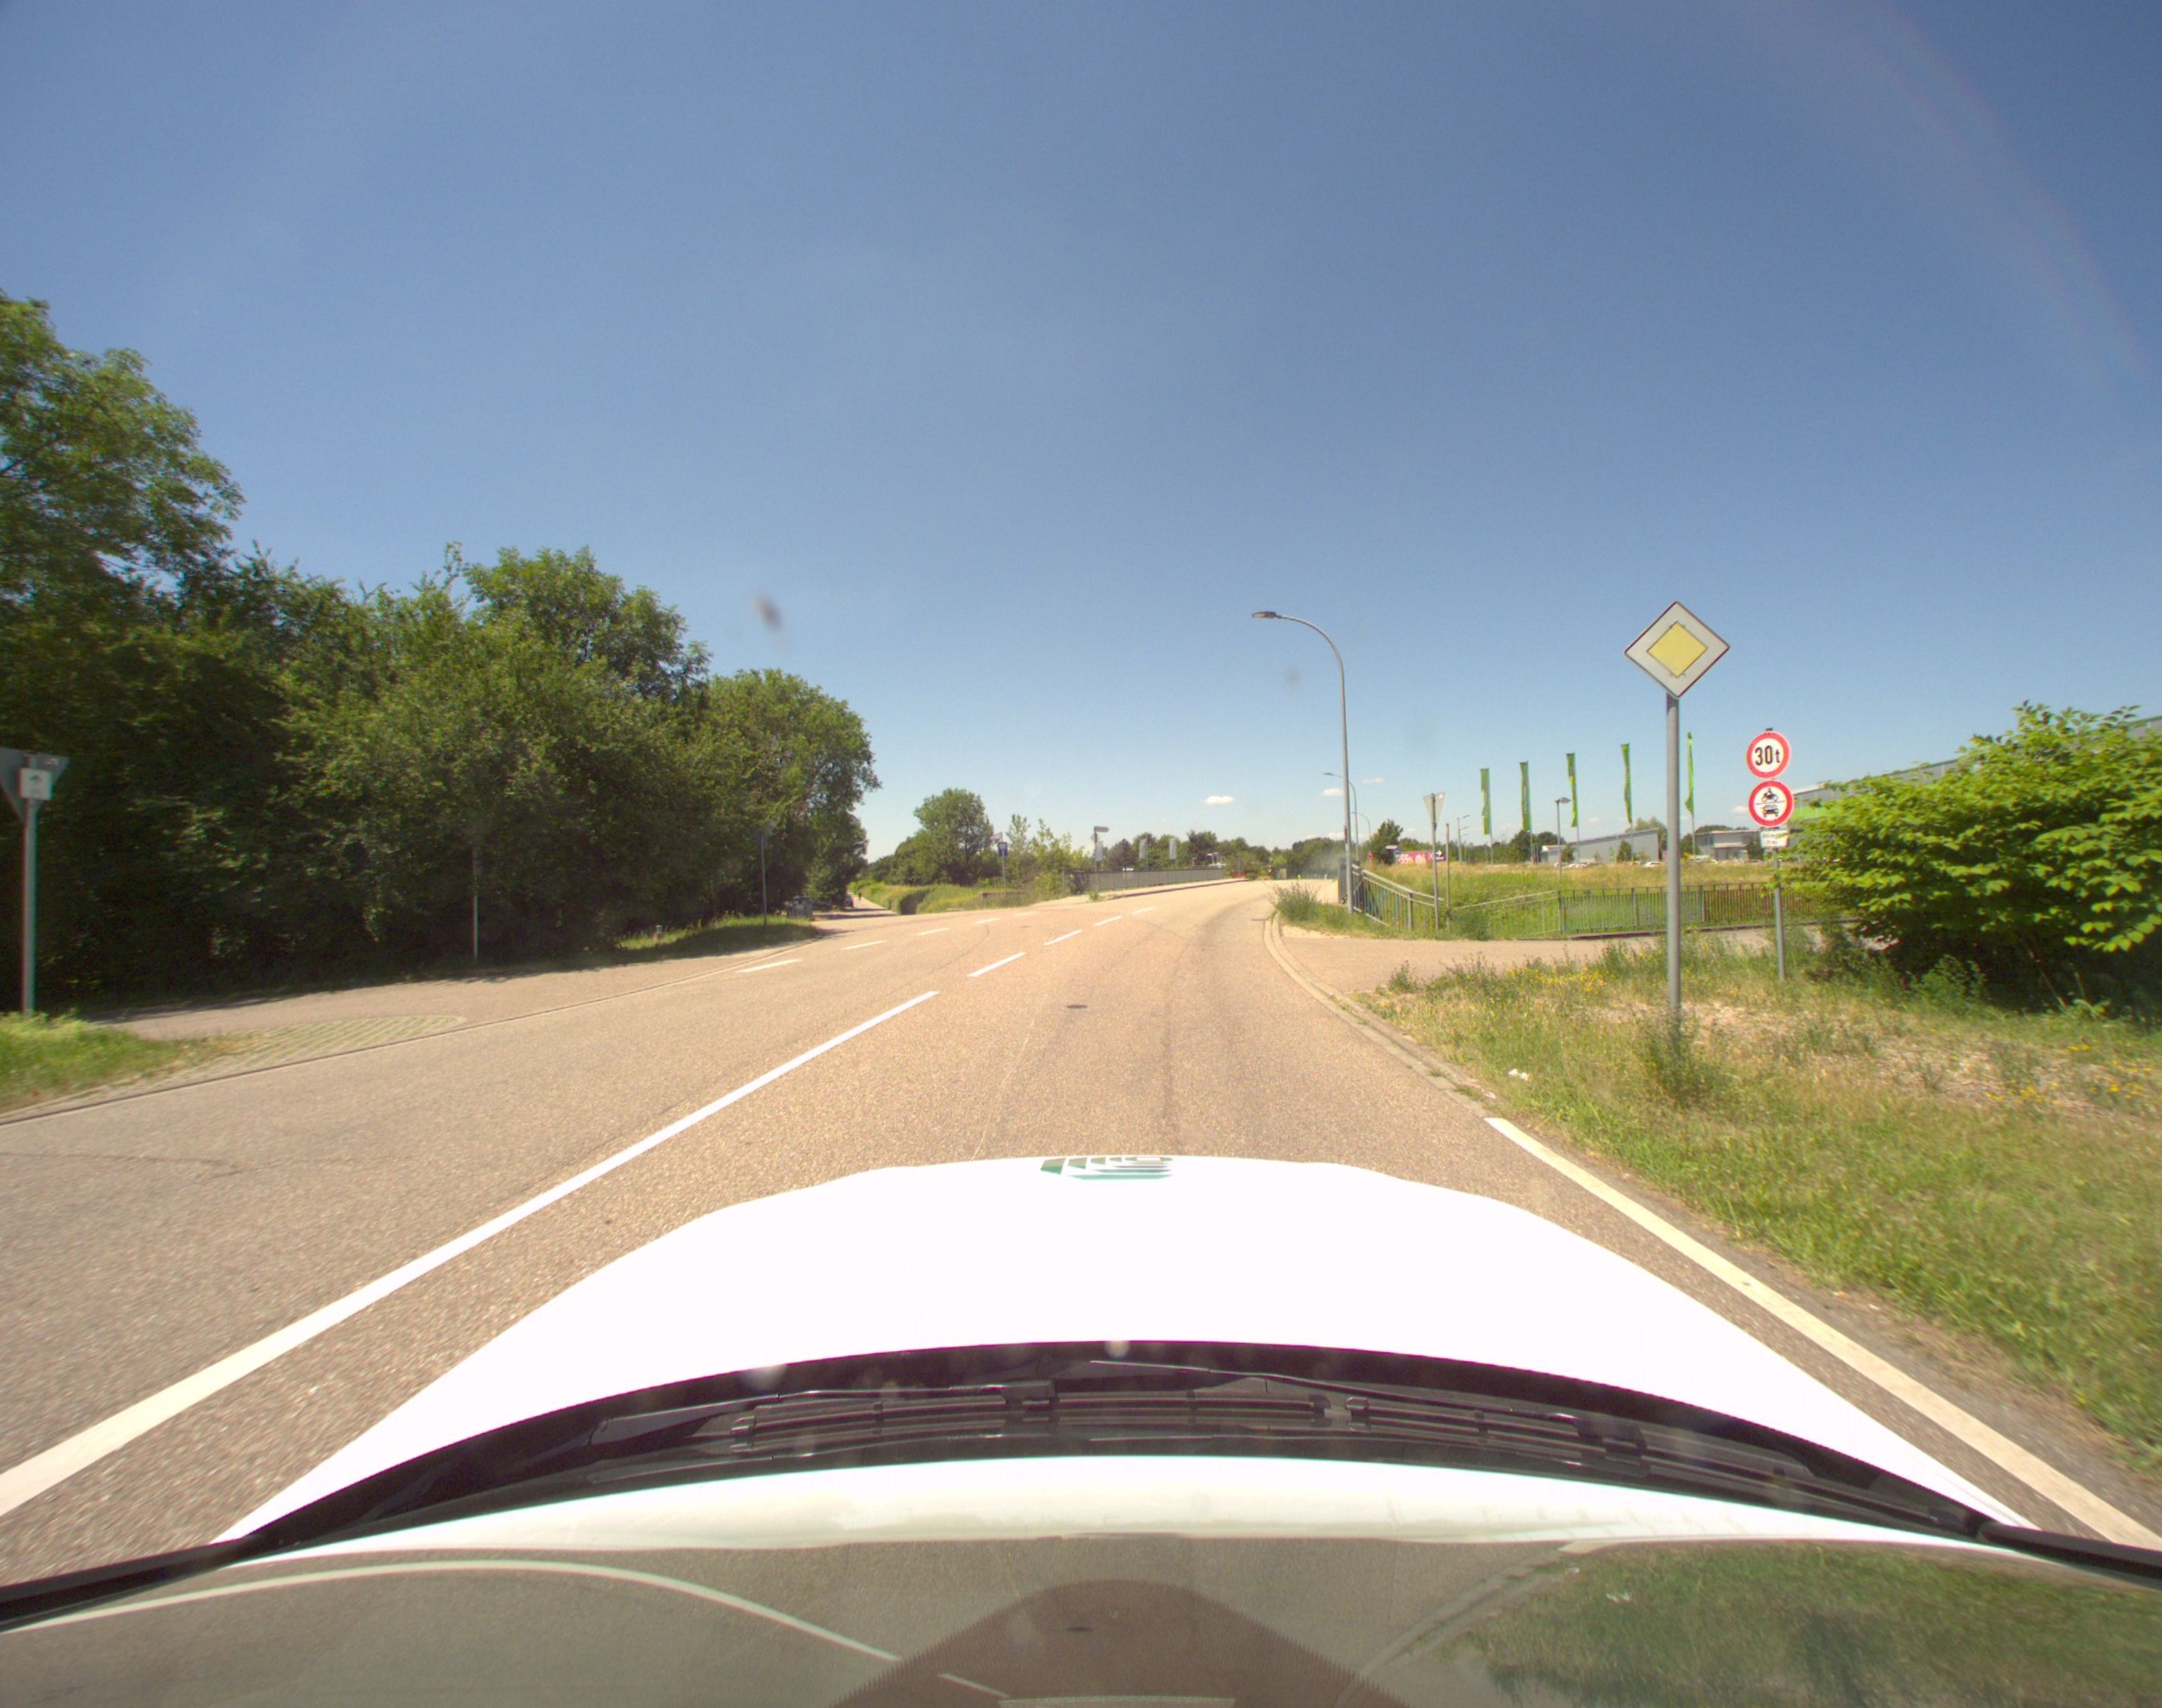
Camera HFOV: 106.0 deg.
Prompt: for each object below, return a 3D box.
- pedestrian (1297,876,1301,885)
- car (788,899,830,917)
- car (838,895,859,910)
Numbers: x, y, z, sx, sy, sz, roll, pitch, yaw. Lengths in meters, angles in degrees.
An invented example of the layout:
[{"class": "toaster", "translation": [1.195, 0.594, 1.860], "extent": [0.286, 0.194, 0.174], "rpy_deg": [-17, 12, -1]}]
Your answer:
[{"class": "pedestrian", "translation": [46.603, 5.667, 173.976], "extent": [0.600, 1.839, 0.809], "rpy_deg": [-3, -4, 28]}, {"class": "car", "translation": [-27.556, 5.428, 82.499], "extent": [4.000, 1.571, 1.986], "rpy_deg": [-2, -1, -20]}, {"class": "car", "translation": [-28.910, 6.003, 101.120], "extent": [2.002, 1.596, 3.969], "rpy_deg": [-2, -2, -23]}]
